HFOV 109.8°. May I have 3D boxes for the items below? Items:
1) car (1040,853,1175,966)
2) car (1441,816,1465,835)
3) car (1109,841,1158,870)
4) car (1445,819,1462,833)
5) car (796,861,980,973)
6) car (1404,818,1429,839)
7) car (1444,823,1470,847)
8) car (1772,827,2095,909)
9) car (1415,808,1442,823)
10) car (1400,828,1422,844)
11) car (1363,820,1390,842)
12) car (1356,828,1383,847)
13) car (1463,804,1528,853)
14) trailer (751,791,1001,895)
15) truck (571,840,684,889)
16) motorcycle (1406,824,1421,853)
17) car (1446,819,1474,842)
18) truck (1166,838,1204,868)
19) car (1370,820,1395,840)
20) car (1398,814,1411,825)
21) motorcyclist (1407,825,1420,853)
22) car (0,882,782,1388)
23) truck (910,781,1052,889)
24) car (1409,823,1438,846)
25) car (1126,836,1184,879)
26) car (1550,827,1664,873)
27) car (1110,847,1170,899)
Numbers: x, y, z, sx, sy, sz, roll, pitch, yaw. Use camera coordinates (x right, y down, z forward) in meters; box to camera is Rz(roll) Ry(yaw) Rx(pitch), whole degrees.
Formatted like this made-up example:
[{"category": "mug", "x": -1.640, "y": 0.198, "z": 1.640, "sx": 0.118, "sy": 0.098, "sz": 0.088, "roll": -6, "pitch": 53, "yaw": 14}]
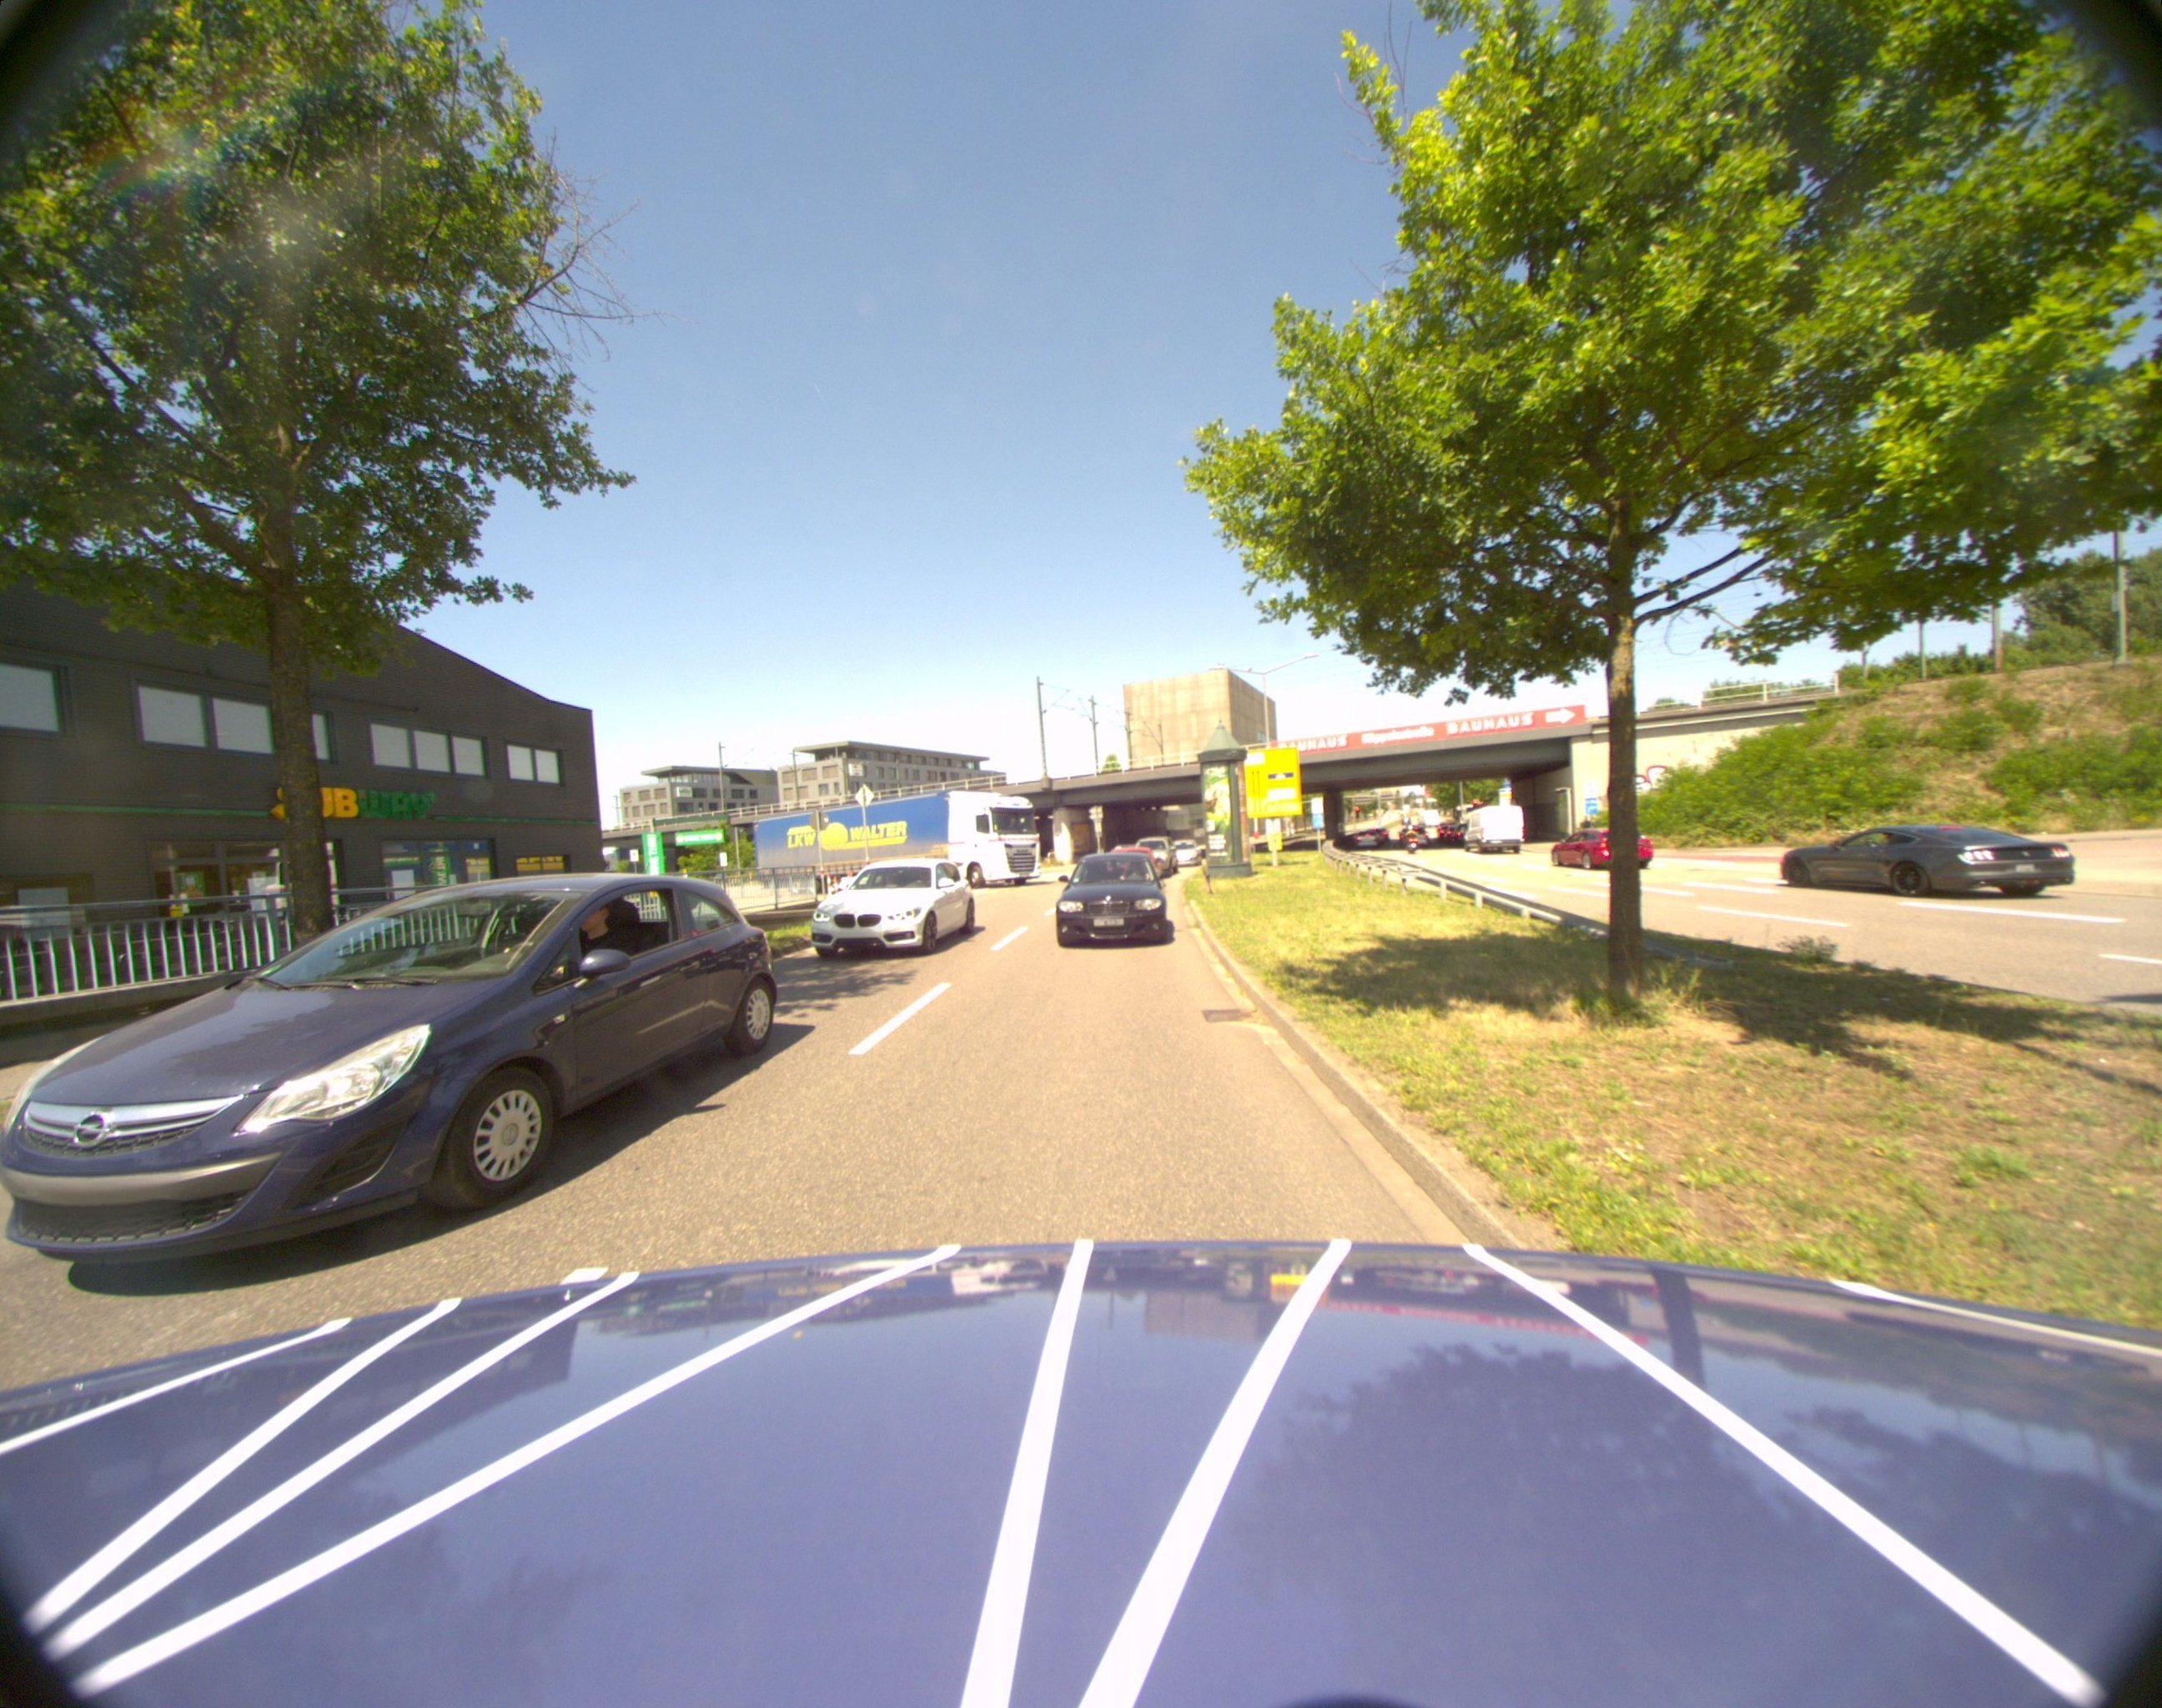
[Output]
[{"category": "car", "x": 0.606, "y": 0.786, "z": 12.695, "sx": 1.680, "sy": 1.409, "sz": 4.058, "roll": -3, "pitch": 2, "yaw": 9}, {"category": "car", "x": 32.003, "y": -2.471, "z": 65.356, "sx": 1.571, "sy": 1.494, "sz": 3.412, "roll": -2, "pitch": 2, "yaw": 30}, {"category": "car", "x": 3.073, "y": 0.061, "z": 43.685, "sx": 1.714, "sy": 1.434, "sz": 4.004, "roll": -2, "pitch": 2, "yaw": 20}, {"category": "car", "x": 35.263, "y": -2.659, "z": 71.860, "sx": 1.183, "sy": 1.241, "sz": 2.696, "roll": -2, "pitch": 2, "yaw": 30}, {"category": "car", "x": -3.003, "y": 0.911, "z": 12.744, "sx": 1.762, "sy": 1.435, "sz": 4.053, "roll": -1, "pitch": 1, "yaw": 4}, {"category": "car", "x": 32.303, "y": -2.445, "z": 73.113, "sx": 1.904, "sy": 1.849, "sz": 4.006, "roll": -2, "pitch": 2, "yaw": 27}, {"category": "car", "x": 26.802, "y": -1.391, "z": 54.121, "sx": 1.515, "sy": 1.533, "sz": 3.685, "roll": -2, "pitch": 2, "yaw": 28}, {"category": "car", "x": 16.551, "y": 0.175, "z": 15.194, "sx": 1.813, "sy": 1.326, "sz": 4.571, "roll": -3, "pitch": 1, "yaw": 9}, {"category": "car", "x": 54.104, "y": -5.958, "z": 118.456, "sx": 1.997, "sy": 2.091, "sz": 6.385, "roll": -3, "pitch": 2, "yaw": 8}, {"category": "car", "x": 26.742, "y": -1.487, "z": 61.497, "sx": 1.268, "sy": 1.178, "sz": 2.782, "roll": -2, "pitch": 2, "yaw": 30}, {"category": "car", "x": 27.148, "y": -2.107, "z": 69.743, "sx": 1.904, "sy": 1.849, "sz": 4.006, "roll": -2, "pitch": 2, "yaw": 27}, {"category": "car", "x": 21.748, "y": -1.261, "z": 57.143, "sx": 1.635, "sy": 1.395, "sz": 4.227, "roll": -1, "pitch": 2, "yaw": 24}, {"category": "car", "x": 23.112, "y": -1.326, "z": 42.612, "sx": 2.097, "sy": 2.485, "sz": 5.817, "roll": -2, "pitch": 0, "yaw": 18}, {"category": "trailer", "x": -10.163, "y": -0.306, "z": 36.054, "sx": 13.869, "sy": 4.067, "sz": 2.504, "roll": -3, "pitch": 2, "yaw": 33}, {"category": "truck", "x": -43.877, "y": 0.732, "z": 74.594, "sx": 2.753, "sy": 4.080, "sz": 17.424, "roll": -3, "pitch": 1, "yaw": -8}, {"category": "motorcycle", "x": 19.701, "y": -0.931, "z": 45.015, "sx": 0.598, "sy": 1.669, "sz": 2.428, "roll": -2, "pitch": 2, "yaw": 19}, {"category": "car", "x": 29.828, "y": -1.874, "z": 59.859, "sx": 1.773, "sy": 1.658, "sz": 4.021, "roll": -3, "pitch": 1, "yaw": 24}, {"category": "truck", "x": 6.033, "y": -0.079, "z": 43.563, "sx": 1.729, "sy": 1.493, "sz": 4.003, "roll": -2, "pitch": 2, "yaw": 13}, {"category": "car", "x": 29.724, "y": -2.363, "z": 74.927, "sx": 1.904, "sy": 1.849, "sz": 4.006, "roll": -2, "pitch": 2, "yaw": 27}, {"category": "car", "x": 60.972, "y": -6.539, "z": 143.251, "sx": 1.995, "sy": 2.002, "sz": 4.005, "roll": -2, "pitch": 2, "yaw": 25}, {"category": "motorcyclist", "x": 19.690, "y": -0.901, "z": 44.976, "sx": 0.587, "sy": 1.617, "sz": 0.563, "roll": -2, "pitch": 2, "yaw": 20}, {"category": "car", "x": -3.420, "y": 1.011, "z": 4.421, "sx": 1.650, "sy": 1.436, "sz": 3.891, "roll": -3, "pitch": 1, "yaw": 2}, {"category": "truck", "x": -4.311, "y": -0.683, "z": 32.011, "sx": 5.747, "sy": 4.078, "sz": 2.580, "roll": -3, "pitch": 1, "yaw": 43}, {"category": "car", "x": 24.477, "y": -1.401, "z": 54.237, "sx": 1.635, "sy": 1.558, "sz": 4.079, "roll": -1, "pitch": 1, "yaw": 28}, {"category": "car", "x": 3.402, "y": 0.114, "z": 34.383, "sx": 1.843, "sy": 1.686, "sz": 3.703, "roll": -2, "pitch": 2, "yaw": 17}, {"category": "car", "x": 18.711, "y": -0.209, "z": 27.300, "sx": 1.833, "sy": 1.429, "sz": 4.529, "roll": -2, "pitch": 2, "yaw": 13}, {"category": "car", "x": 1.749, "y": 0.510, "z": 23.349, "sx": 1.646, "sy": 1.391, "sz": 4.052, "roll": -1, "pitch": 1, "yaw": 2}]
